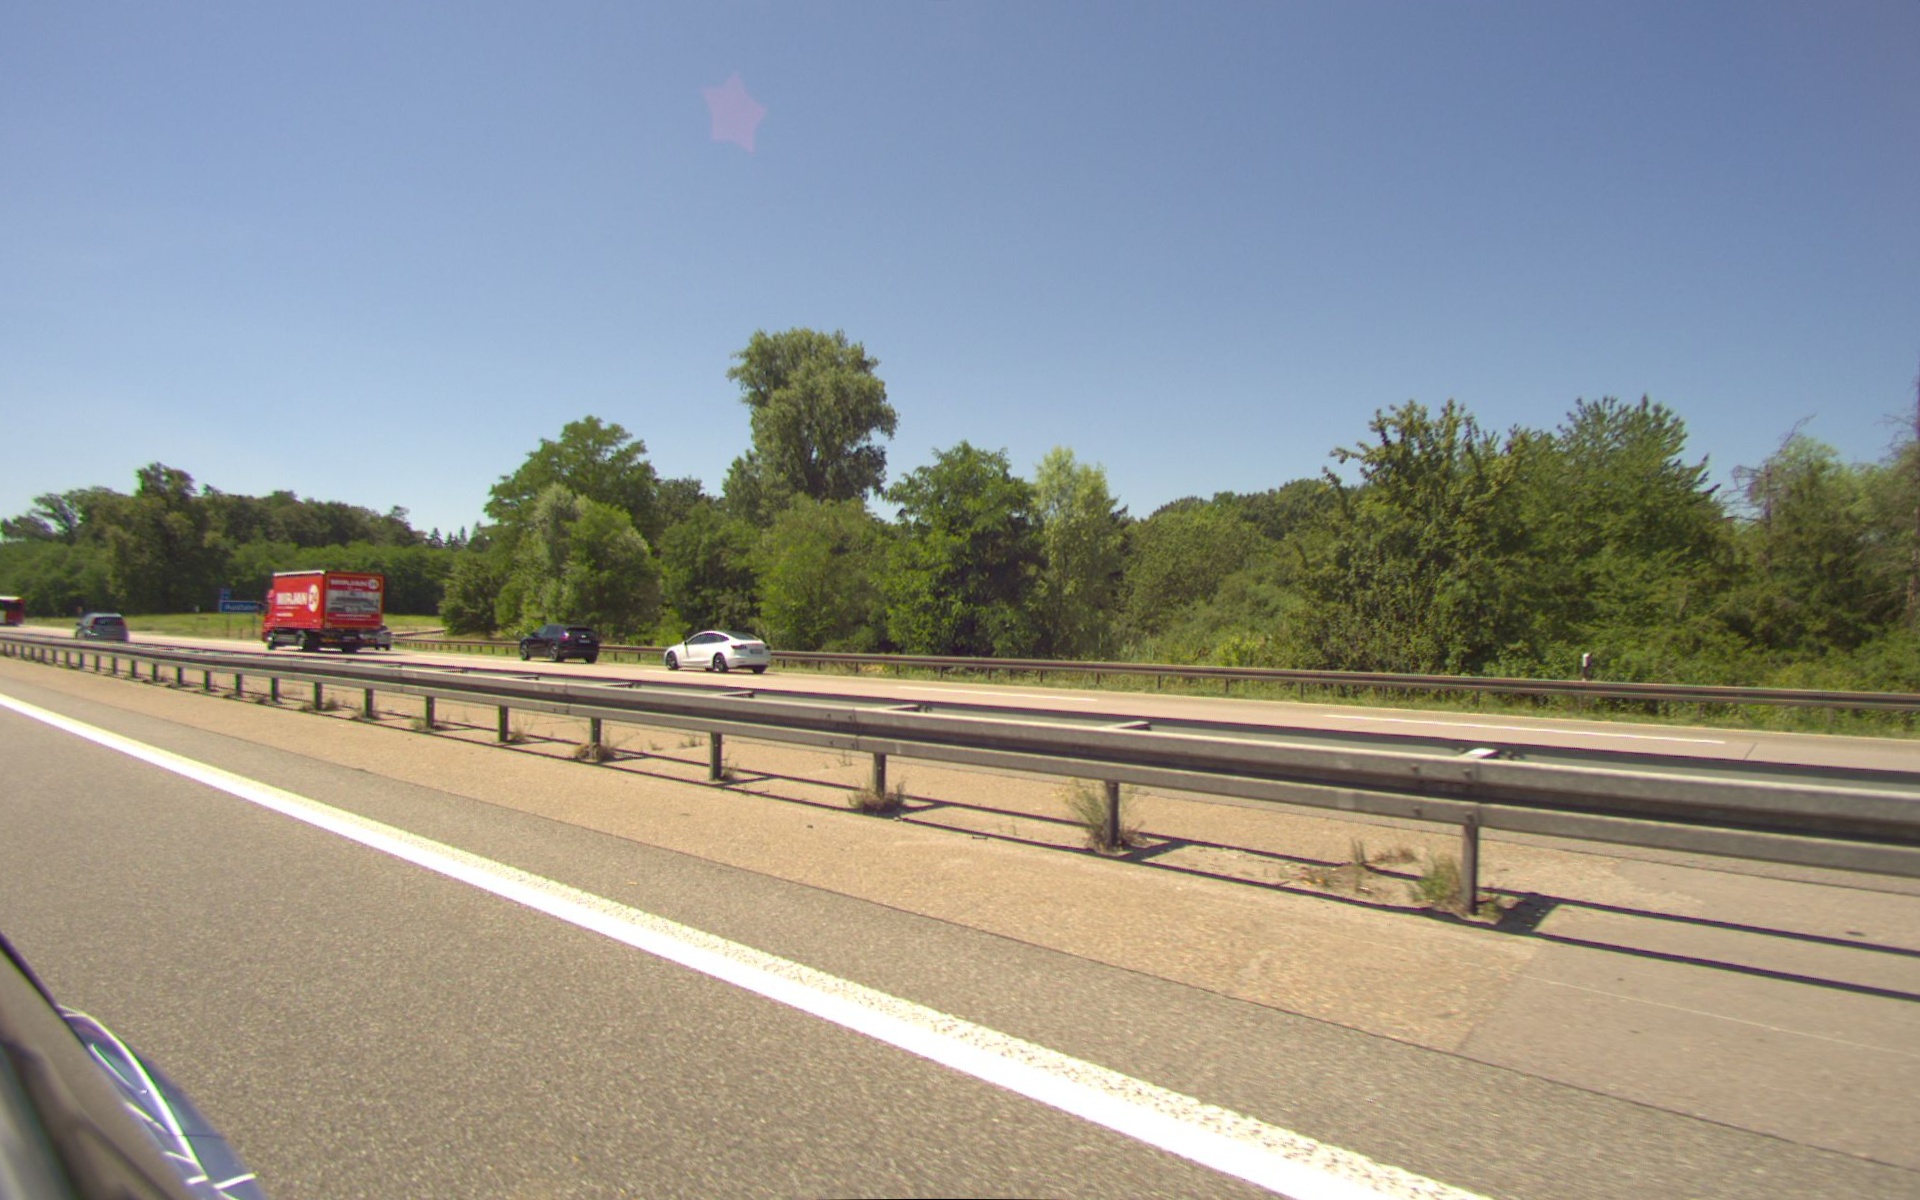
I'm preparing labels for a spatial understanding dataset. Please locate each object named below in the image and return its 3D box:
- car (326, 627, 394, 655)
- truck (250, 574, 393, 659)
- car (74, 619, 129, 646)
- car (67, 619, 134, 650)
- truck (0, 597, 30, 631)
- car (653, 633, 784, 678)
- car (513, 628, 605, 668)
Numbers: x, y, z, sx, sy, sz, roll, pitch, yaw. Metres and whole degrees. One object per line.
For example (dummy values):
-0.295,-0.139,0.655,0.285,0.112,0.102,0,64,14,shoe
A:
-35.144,2.398,59.223,4.718,1.521,1.973,-1,-4,41,car
-31.224,0.855,49.262,9.798,3.755,3.033,-1,-3,40,truck
-54.196,2.032,63.862,4.541,1.638,1.973,-1,-3,41,car
-43.342,1.709,51.021,4.113,1.517,1.877,-1,-2,39,car
-115.225,1.716,121.405,17.530,3.905,3.052,-1,-2,40,truck
-8.518,1.885,35.482,4.970,1.423,1.973,-1,-2,41,car
-17.040,2.004,42.903,4.267,1.590,1.972,-1,-2,43,car
